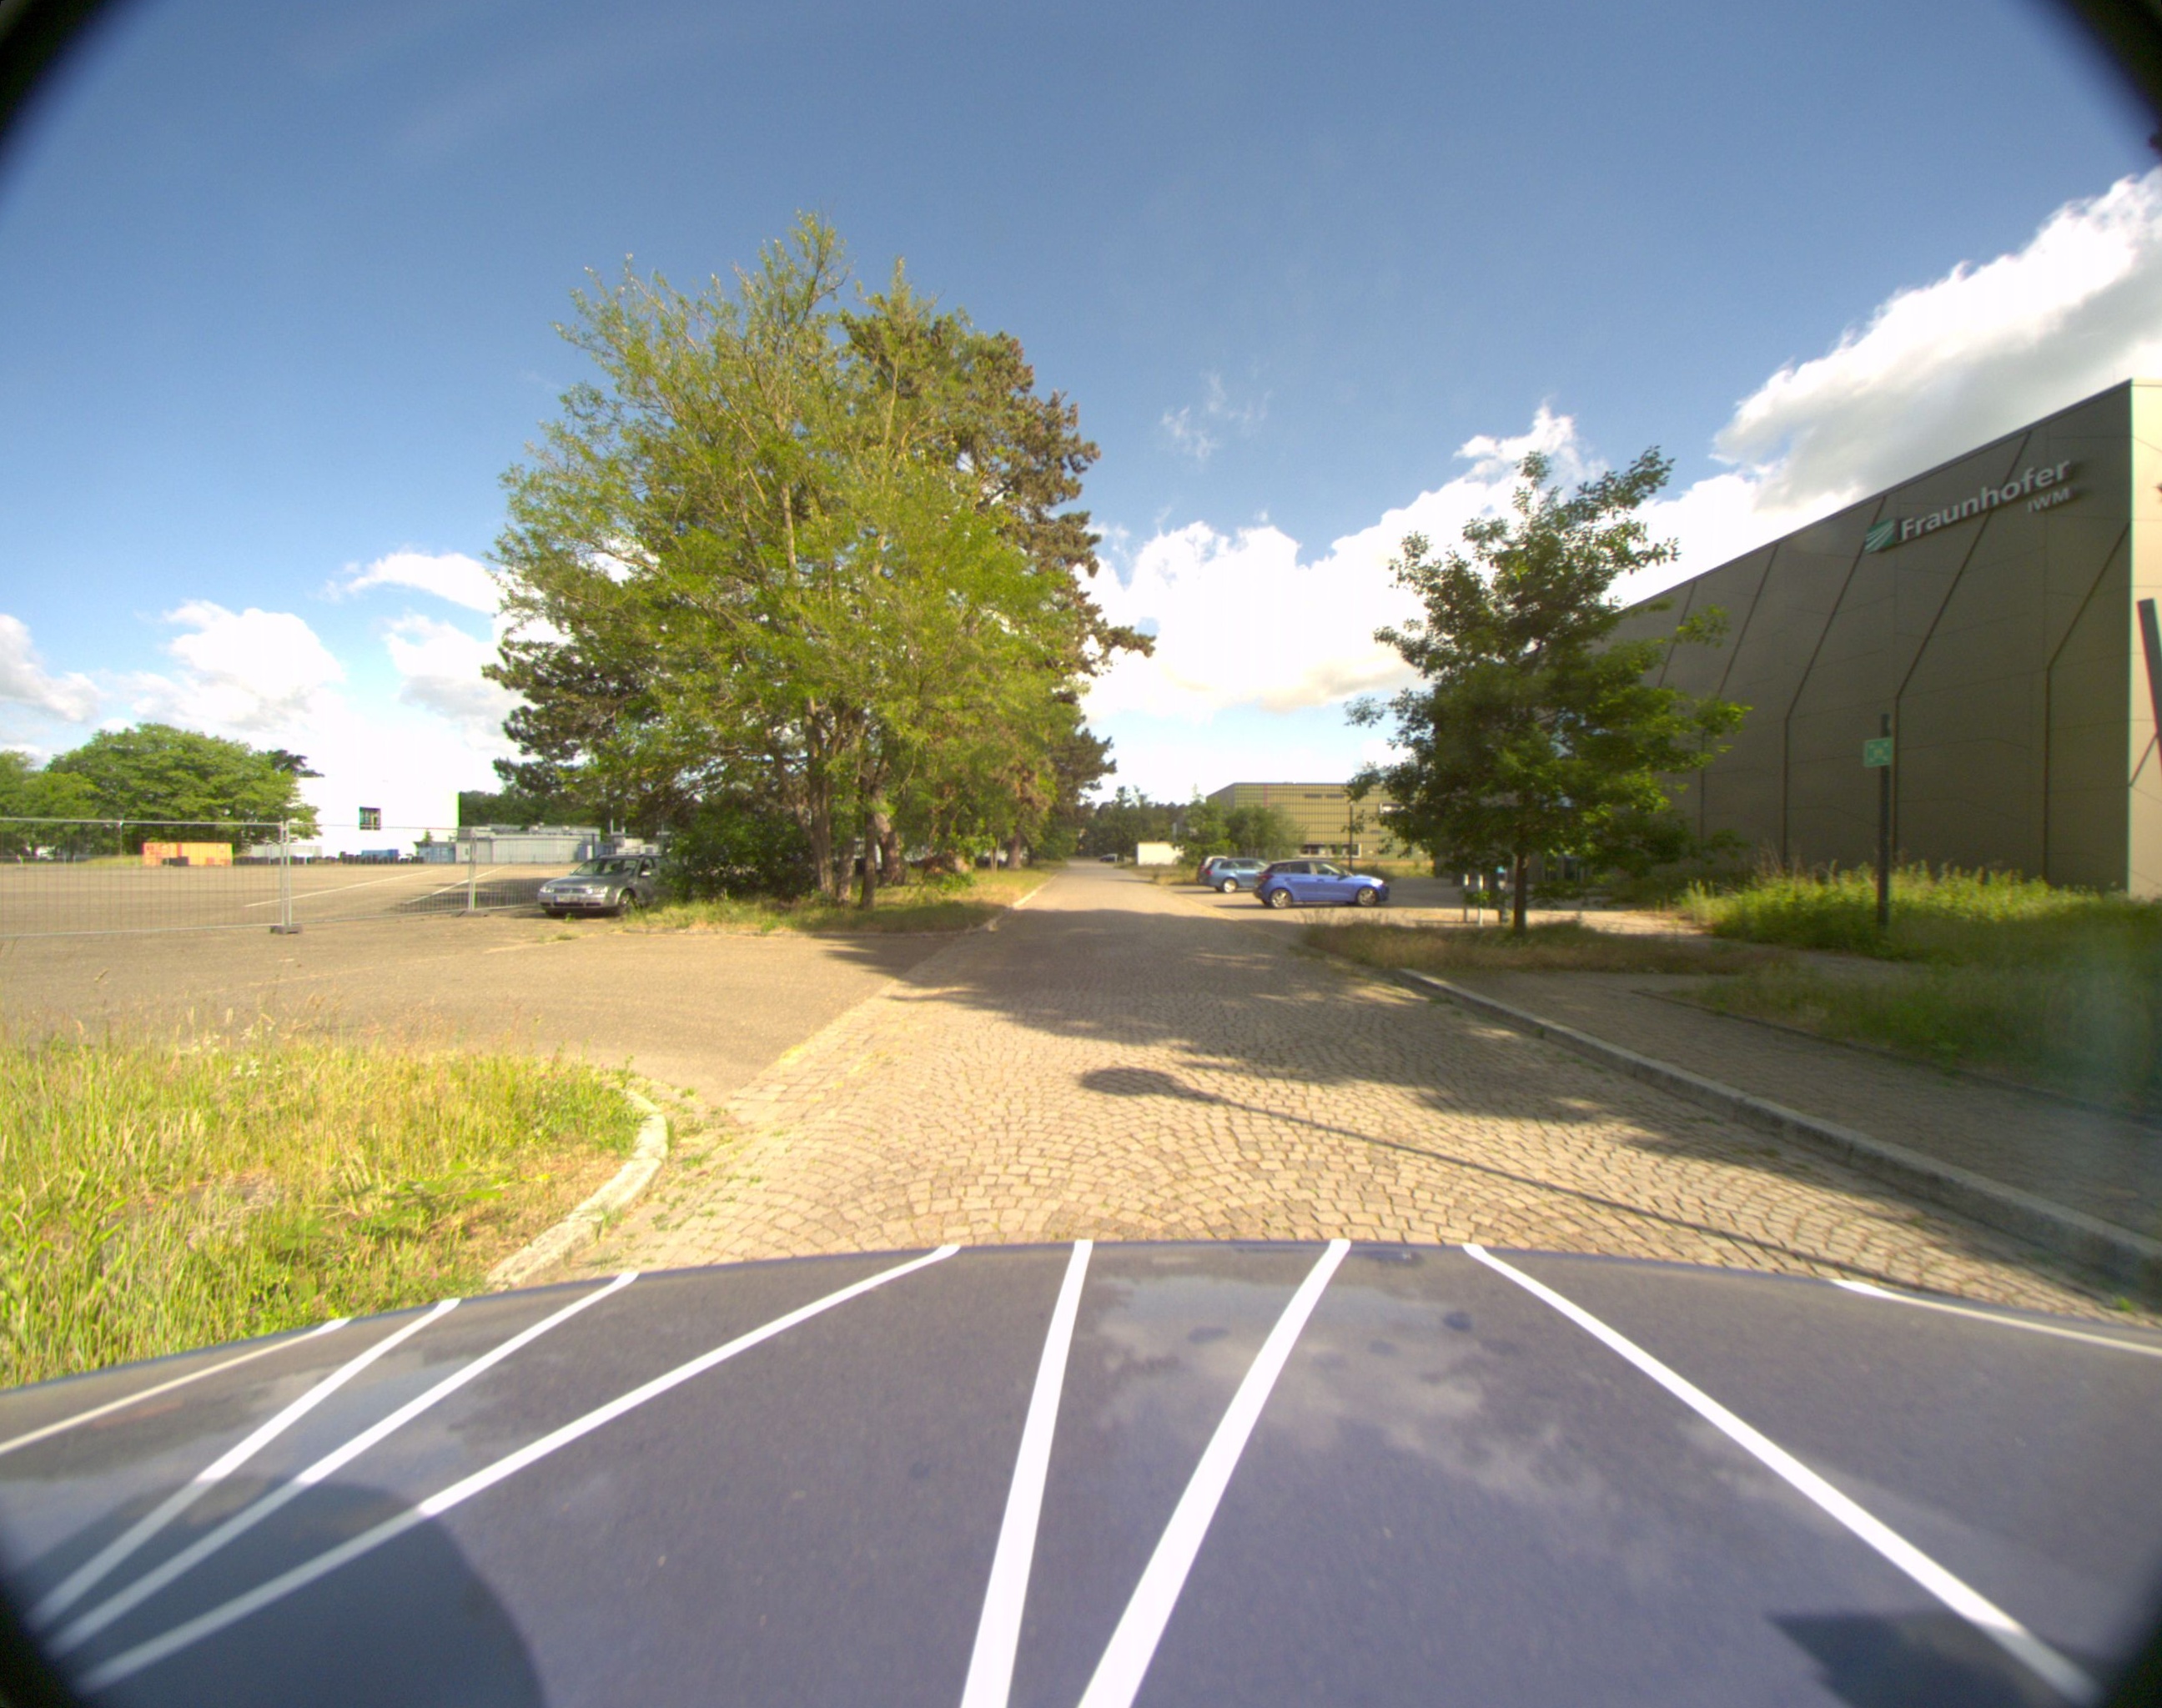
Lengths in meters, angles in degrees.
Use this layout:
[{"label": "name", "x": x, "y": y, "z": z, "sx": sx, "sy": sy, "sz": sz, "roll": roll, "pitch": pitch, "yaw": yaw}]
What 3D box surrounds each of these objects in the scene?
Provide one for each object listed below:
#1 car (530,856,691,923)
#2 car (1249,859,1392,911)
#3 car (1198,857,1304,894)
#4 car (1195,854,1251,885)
[{"label": "car", "x": -11.192, "y": 0.775, "z": 18.434, "sx": 1.579, "sy": 1.435, "sz": 3.985, "roll": 0, "pitch": 0, "yaw": -3}, {"label": "car", "x": 7.323, "y": 0.940, "z": 23.512, "sx": 3.918, "sy": 1.459, "sz": 1.735, "roll": -1, "pitch": 0, "yaw": 3}, {"label": "car", "x": 7.329, "y": 0.894, "z": 33.011, "sx": 4.180, "sy": 1.465, "sz": 1.734, "roll": -1, "pitch": 0, "yaw": -2}, {"label": "car", "x": 7.506, "y": 0.823, "z": 40.356, "sx": 2.652, "sy": 1.559, "sz": 1.481, "roll": -1, "pitch": 1, "yaw": -1}]
